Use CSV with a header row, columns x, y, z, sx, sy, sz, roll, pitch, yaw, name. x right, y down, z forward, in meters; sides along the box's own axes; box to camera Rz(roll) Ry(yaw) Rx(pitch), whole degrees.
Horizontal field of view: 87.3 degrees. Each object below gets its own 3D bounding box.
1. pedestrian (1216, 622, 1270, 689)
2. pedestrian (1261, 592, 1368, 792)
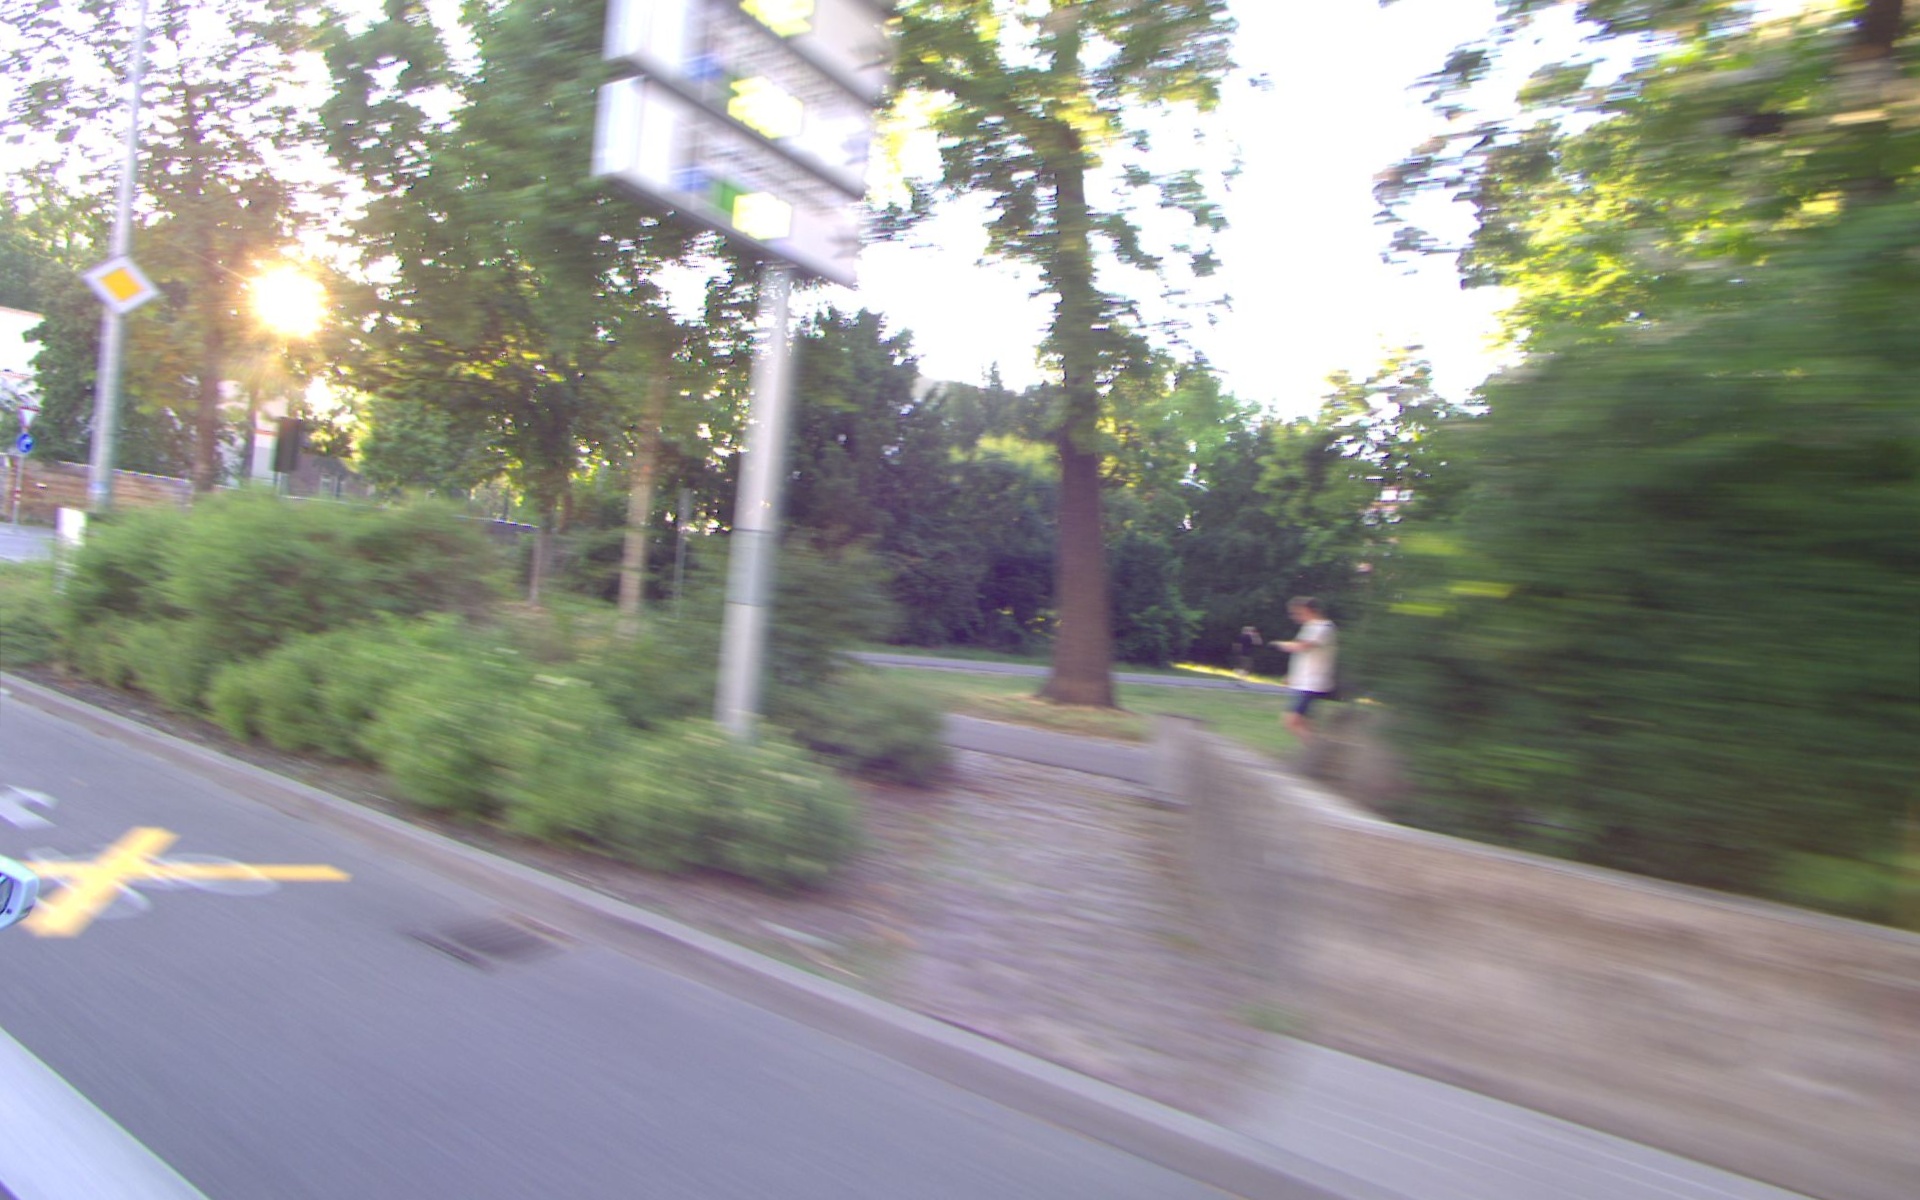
x,y,z,sx,sy,sz,roll,pitch,yaw,name
7.750,1.521,27.599,0.808,1.647,0.829,6,7,-31,pedestrian
3.546,0.898,10.149,0.758,1.855,0.795,7,1,16,pedestrian
